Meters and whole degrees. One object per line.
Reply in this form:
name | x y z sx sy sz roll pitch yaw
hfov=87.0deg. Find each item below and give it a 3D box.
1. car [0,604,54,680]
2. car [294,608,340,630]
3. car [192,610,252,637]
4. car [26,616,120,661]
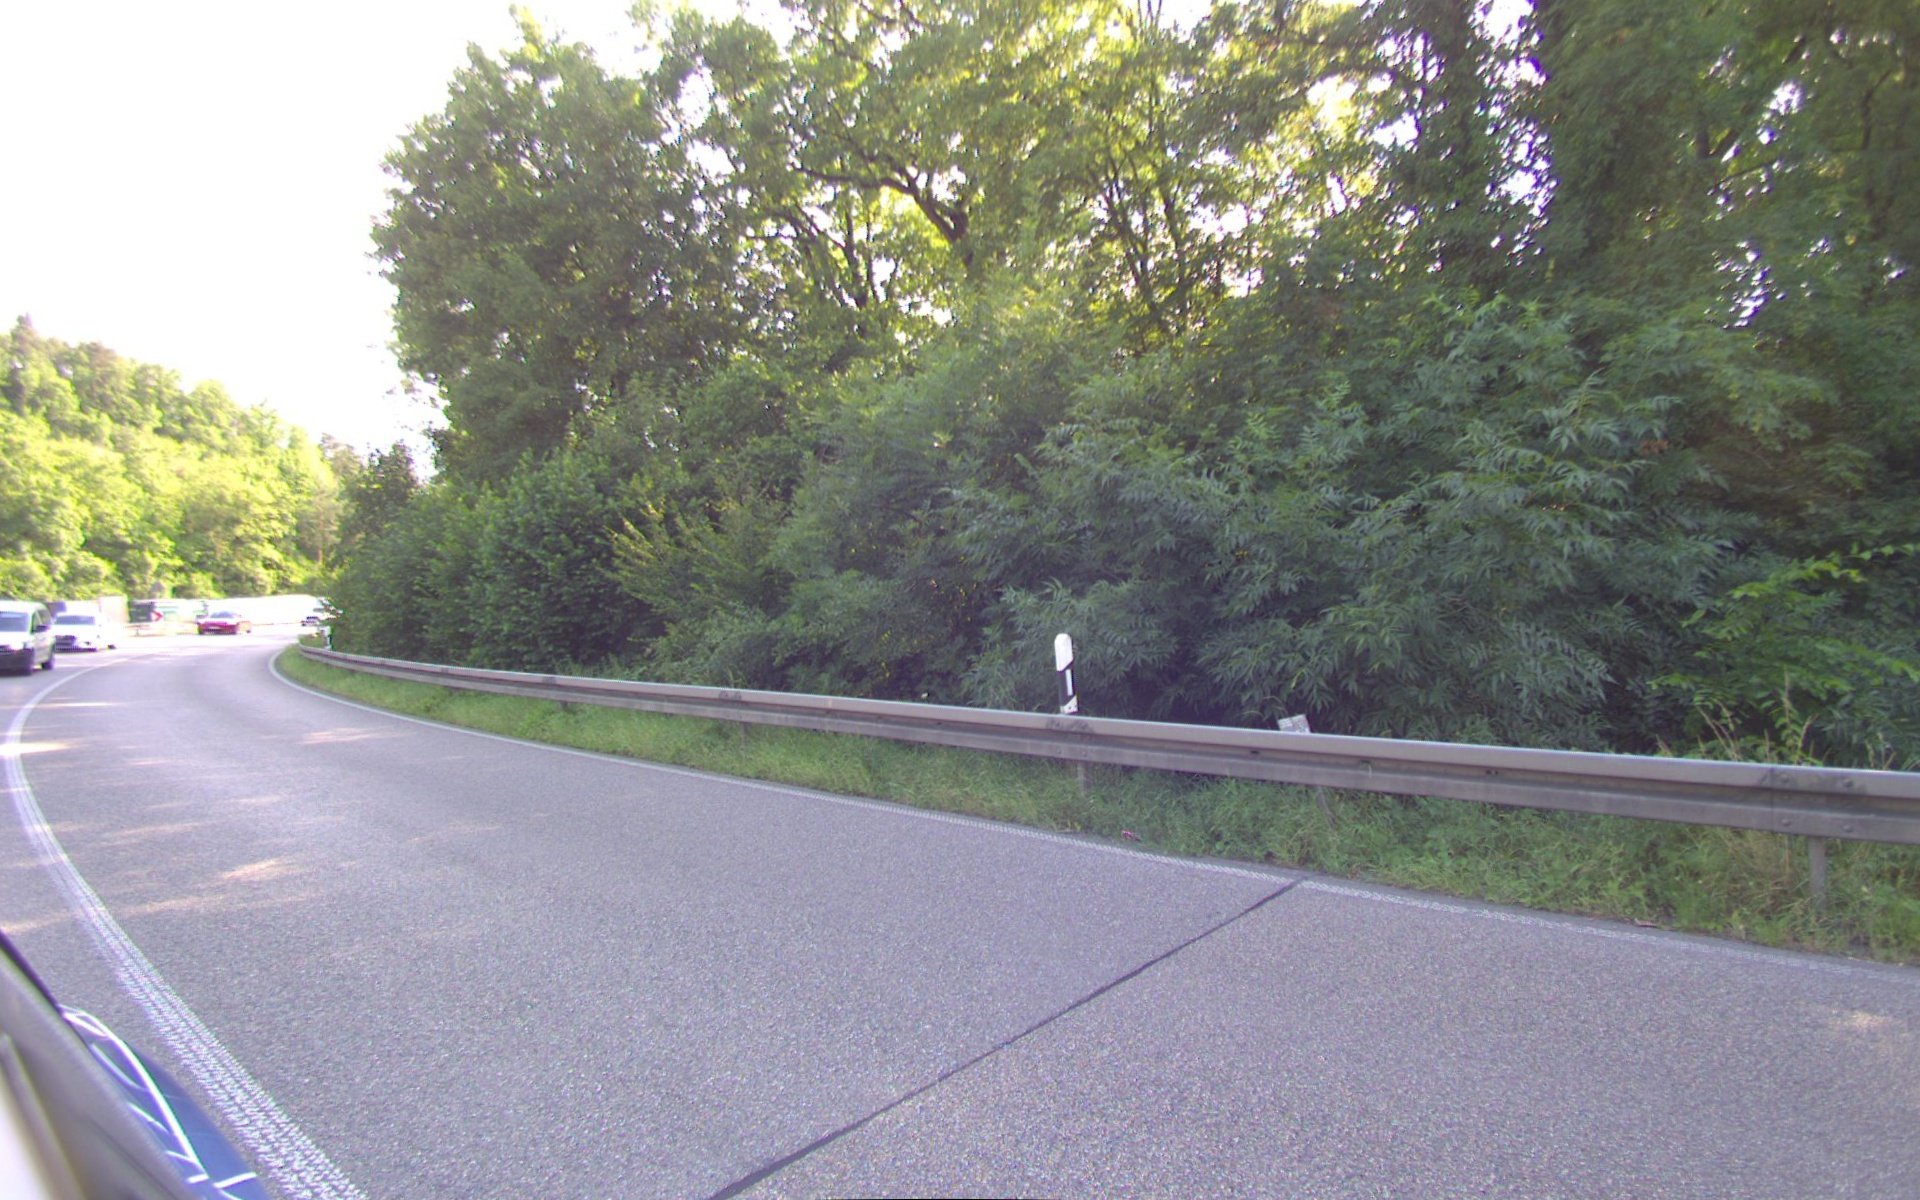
car | -24.081 0.993 25.217 1.839 1.733 4.774 0 0 -37
car | -48.658 1.380 76.663 1.884 1.476 4.551 -3 1 -19
car | -42.715 1.313 58.670 1.828 1.431 4.434 -1 0 -23
car | -33.125 1.378 37.932 1.866 1.456 4.489 -3 1 -32
